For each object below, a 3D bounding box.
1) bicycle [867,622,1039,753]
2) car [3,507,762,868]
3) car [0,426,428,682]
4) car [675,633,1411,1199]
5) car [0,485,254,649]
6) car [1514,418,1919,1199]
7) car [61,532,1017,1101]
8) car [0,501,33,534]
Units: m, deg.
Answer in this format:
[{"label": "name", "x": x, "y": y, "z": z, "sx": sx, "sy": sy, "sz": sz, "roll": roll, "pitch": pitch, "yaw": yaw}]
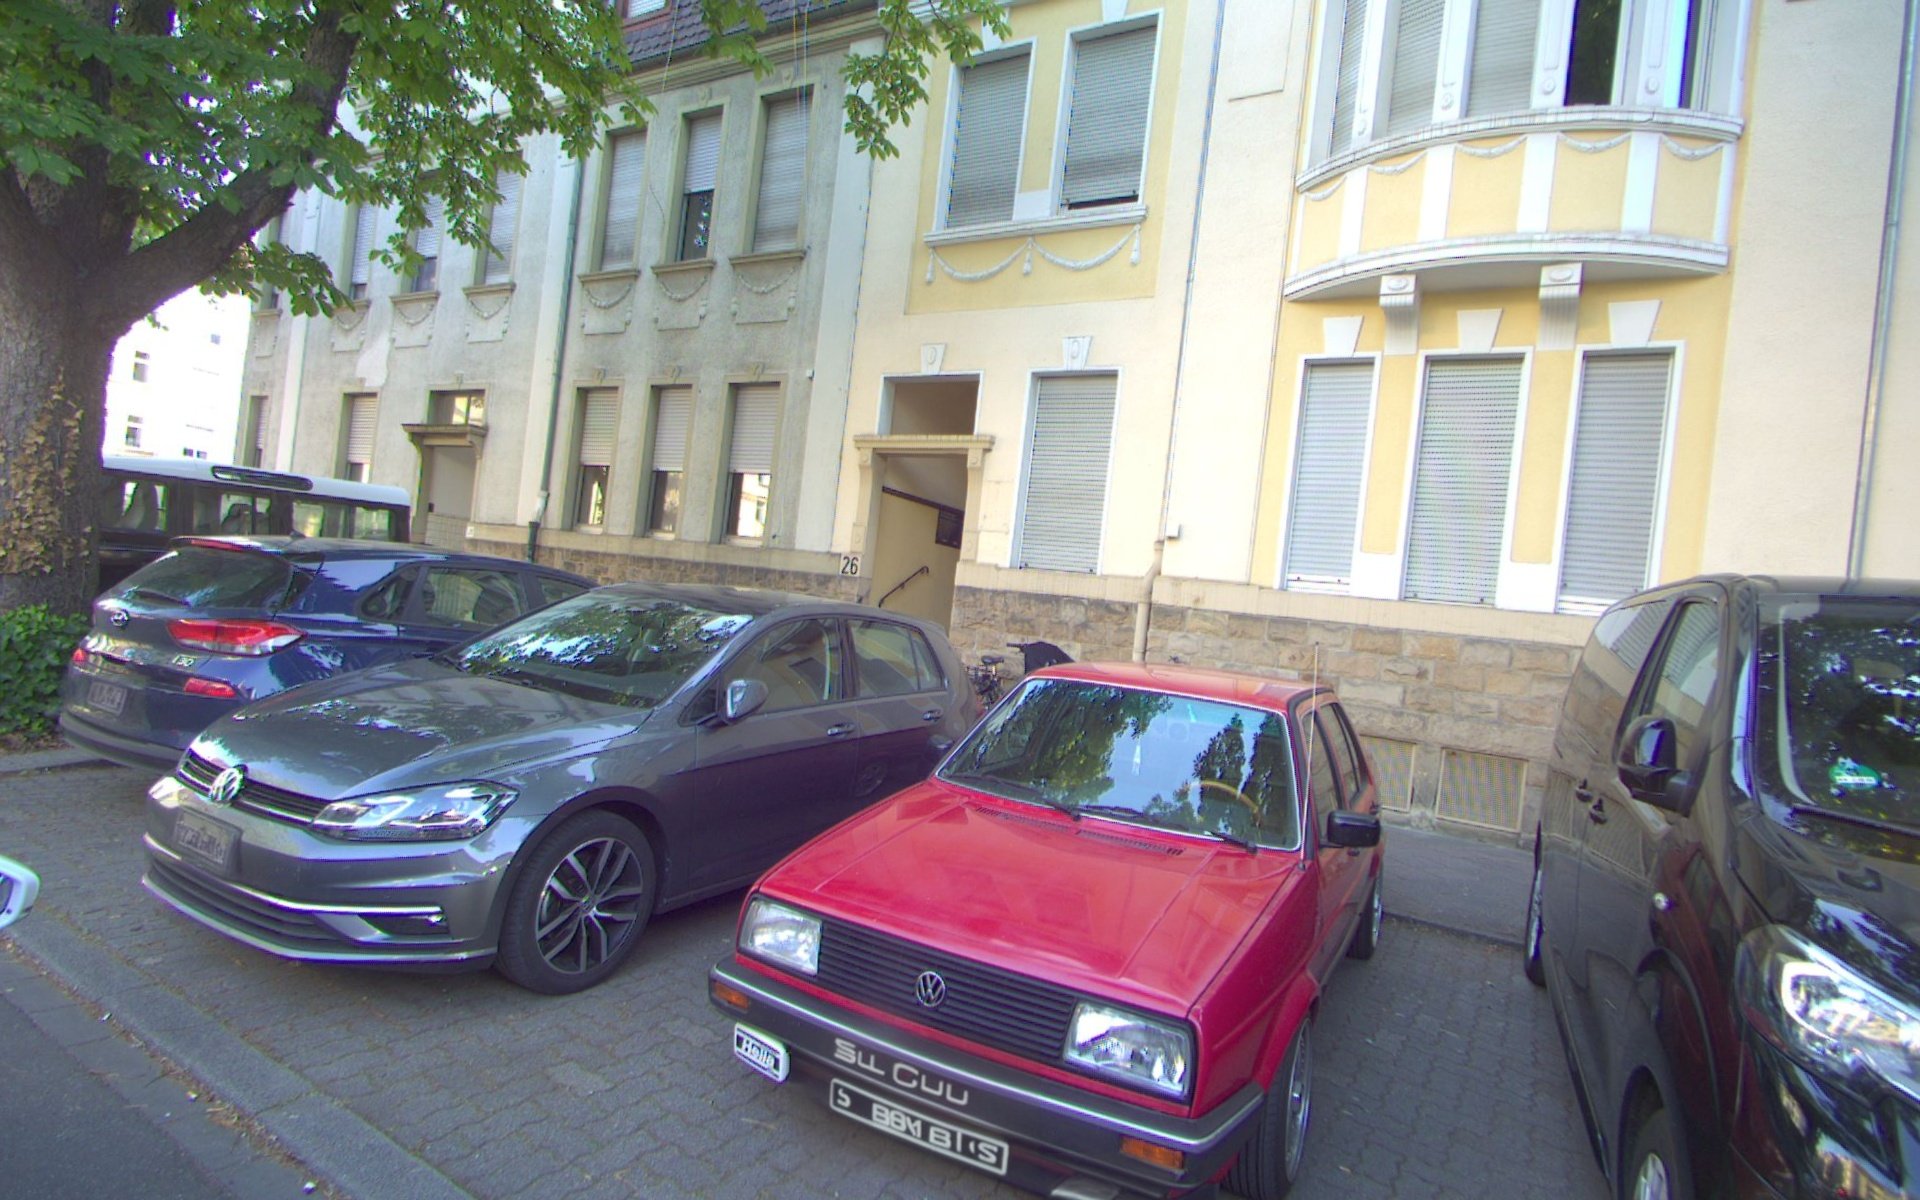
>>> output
[{"label": "bicycle", "x": -0.096, "y": 0.873, "z": 10.429, "sx": 1.675, "sy": 1.090, "sz": 0.500, "roll": 7, "pitch": 2, "yaw": 31}, {"label": "car", "x": -3.081, "y": 0.416, "z": 6.231, "sx": 1.600, "sy": 1.440, "sz": 3.756, "roll": 6, "pitch": 0, "yaw": 26}, {"label": "car", "x": -7.643, "y": -0.379, "z": 9.280, "sx": 1.762, "sy": 1.981, "sz": 4.496, "roll": 7, "pitch": 1, "yaw": 29}, {"label": "car", "x": 0.835, "y": 0.919, "z": 4.231, "sx": 1.532, "sy": 1.337, "sz": 3.916, "roll": 6, "pitch": 0, "yaw": 29}, {"label": "car", "x": -10.036, "y": -0.390, "z": 10.861, "sx": 1.680, "sy": 1.606, "sz": 3.489, "roll": 7, "pitch": 0, "yaw": 25}, {"label": "car", "x": 2.878, "y": 0.892, "z": 2.952, "sx": 1.848, "sy": 1.847, "sz": 4.829, "roll": 6, "pitch": 0, "yaw": 27}, {"label": "car", "x": -1.374, "y": 0.650, "z": 4.840, "sx": 1.600, "sy": 1.439, "sz": 4.054, "roll": 6, "pitch": 0, "yaw": 29}, {"label": "car", "x": -36.471, "y": -3.228, "z": 36.854, "sx": 1.357, "sy": 1.081, "sz": 3.370, "roll": 7, "pitch": -1, "yaw": 30}]
